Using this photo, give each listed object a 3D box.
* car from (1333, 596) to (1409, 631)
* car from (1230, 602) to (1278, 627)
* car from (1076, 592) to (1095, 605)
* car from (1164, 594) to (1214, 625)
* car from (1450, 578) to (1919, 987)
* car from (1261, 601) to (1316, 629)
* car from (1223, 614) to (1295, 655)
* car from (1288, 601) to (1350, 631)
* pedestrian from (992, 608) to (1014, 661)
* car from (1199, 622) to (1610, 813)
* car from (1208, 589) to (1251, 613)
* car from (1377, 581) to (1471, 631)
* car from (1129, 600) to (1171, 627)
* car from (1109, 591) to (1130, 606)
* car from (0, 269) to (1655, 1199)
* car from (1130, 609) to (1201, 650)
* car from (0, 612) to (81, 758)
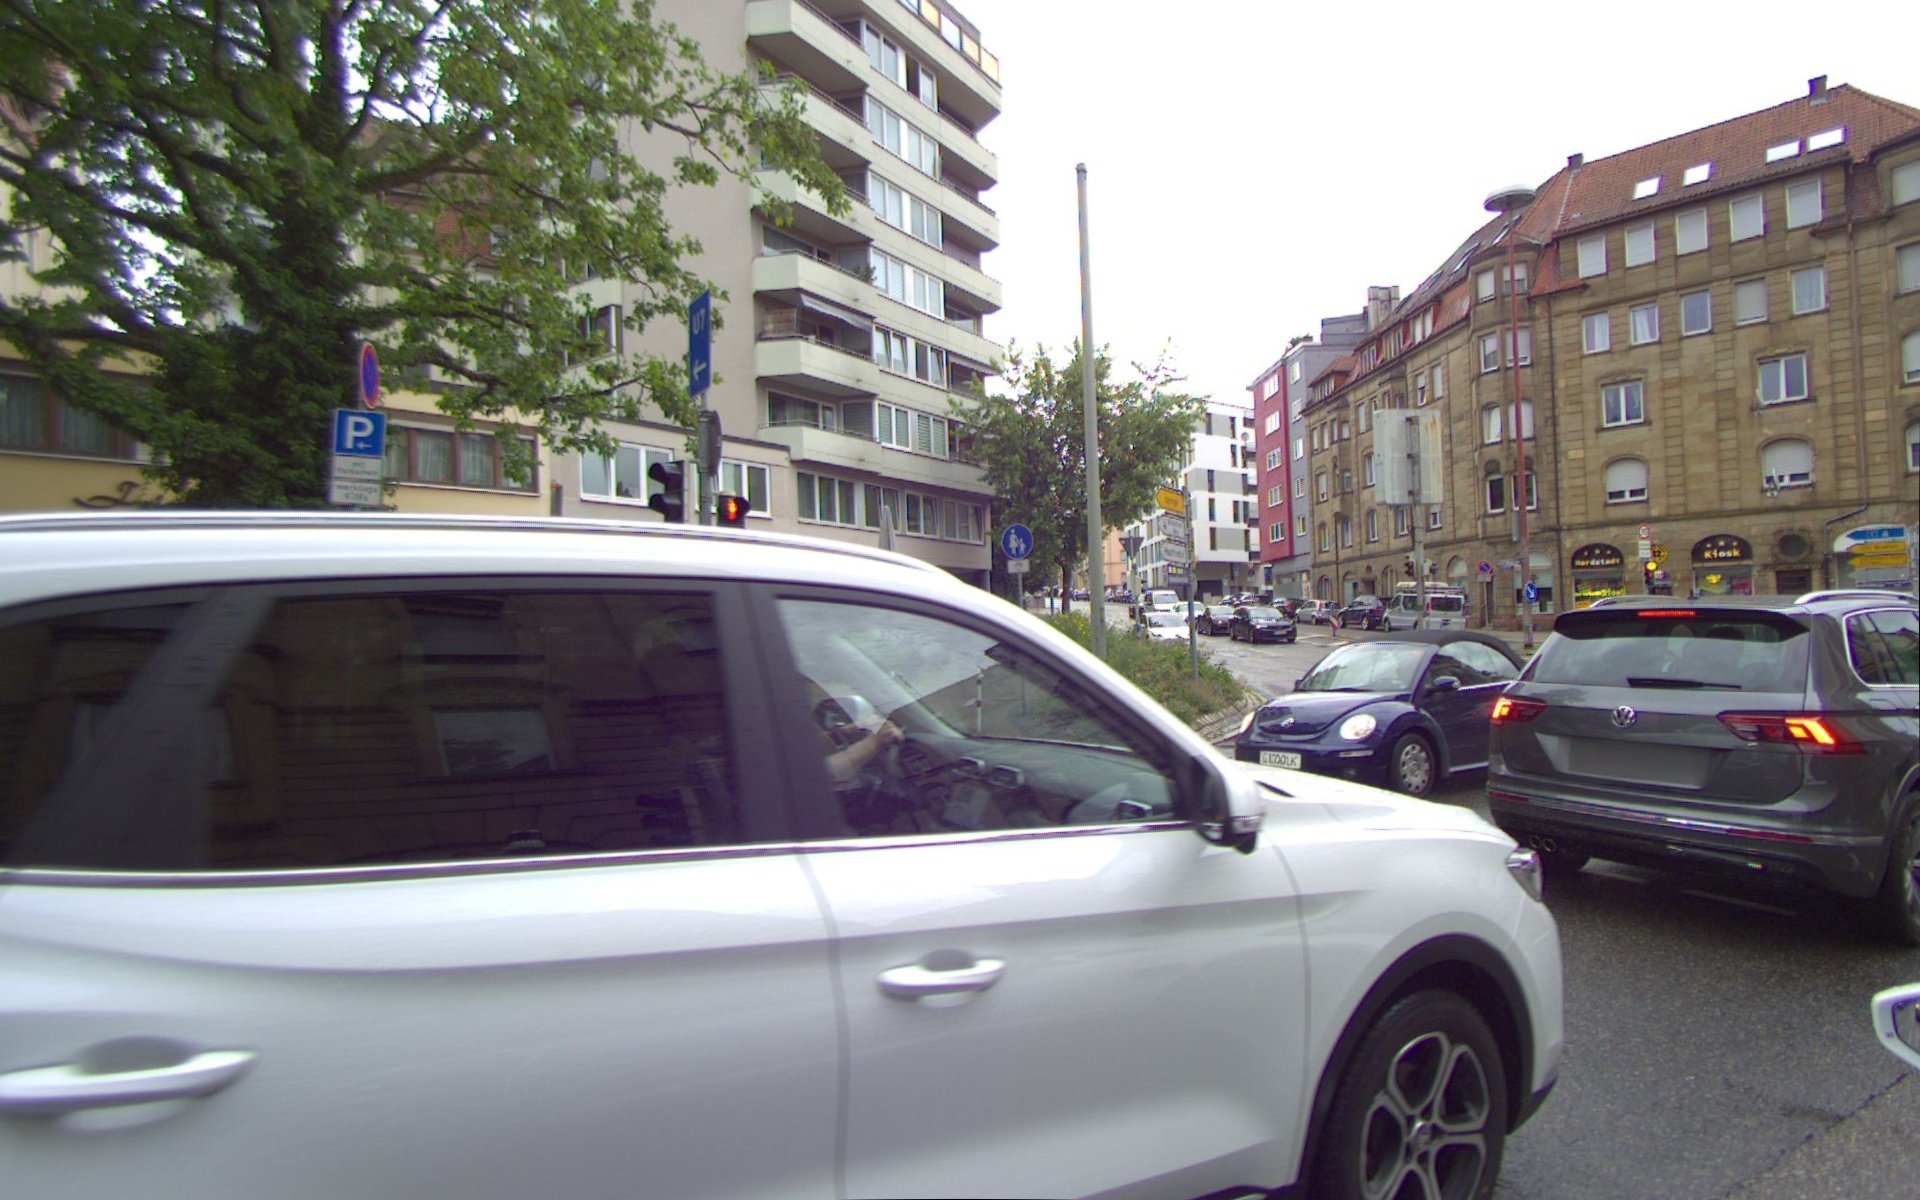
[{"bbox_3d":[21.119,0.695,51.801,1.961,1.727,4.379,0,-1,-3],"label":"car"},{"bbox_3d":[20.627,0.998,70.550,1.961,1.727,4.213,0,-1,-3],"label":"car"},{"bbox_3d":[16.082,-0.177,128.496,1.665,1.727,4.213,0,-1,-3],"label":"car"},{"bbox_3d":[12.398,0.513,54.643,1.704,1.558,4.302,-1,0,0],"label":"car"},{"bbox_3d":[4.951,0.725,5.931,4.164,1.666,1.743,-1,0,-32],"label":"car"},{"bbox_3d":[20.926,0.959,64.090,1.961,1.727,4.213,0,-1,-3],"label":"car"},{"bbox_3d":[12.262,1.387,41.435,1.732,1.511,4.024,-2,0,0],"label":"car"},{"bbox_3d":[21.010,0.932,59.022,1.961,1.727,4.213,0,-1,-3],"label":"car"},{"bbox_3d":[1.396,1.115,32.871,0.612,1.716,0.620,0,0,13],"label":"pedestrian"},{"bbox_3d":[4.356,1.062,9.827,3.635,1.516,1.709,0,-6,-27],"label":"car"},{"bbox_3d":[20.356,0.087,76.060,1.961,1.727,4.213,0,-1,-3],"label":"car"},{"bbox_3d":[21.529,0.287,46.826,1.961,2.197,4.802,0,-1,-3],"label":"car"},{"bbox_3d":[11.608,0.839,61.649,1.704,1.558,4.155,2,-1,0],"label":"car"},{"bbox_3d":[19.675,-0.191,124.079,1.665,1.727,4.213,0,-1,-3],"label":"car"},{"bbox_3d":[-0.408,0.563,2.279,4.331,1.666,1.742,2,-1,-33],"label":"car"},{"bbox_3d":[7.947,1.118,39.197,1.876,1.511,4.393,0,0,0],"label":"car"},{"bbox_3d":[-12.944,0.962,12.371,4.141,1.664,1.938,0,-1,30],"label":"car"}]
